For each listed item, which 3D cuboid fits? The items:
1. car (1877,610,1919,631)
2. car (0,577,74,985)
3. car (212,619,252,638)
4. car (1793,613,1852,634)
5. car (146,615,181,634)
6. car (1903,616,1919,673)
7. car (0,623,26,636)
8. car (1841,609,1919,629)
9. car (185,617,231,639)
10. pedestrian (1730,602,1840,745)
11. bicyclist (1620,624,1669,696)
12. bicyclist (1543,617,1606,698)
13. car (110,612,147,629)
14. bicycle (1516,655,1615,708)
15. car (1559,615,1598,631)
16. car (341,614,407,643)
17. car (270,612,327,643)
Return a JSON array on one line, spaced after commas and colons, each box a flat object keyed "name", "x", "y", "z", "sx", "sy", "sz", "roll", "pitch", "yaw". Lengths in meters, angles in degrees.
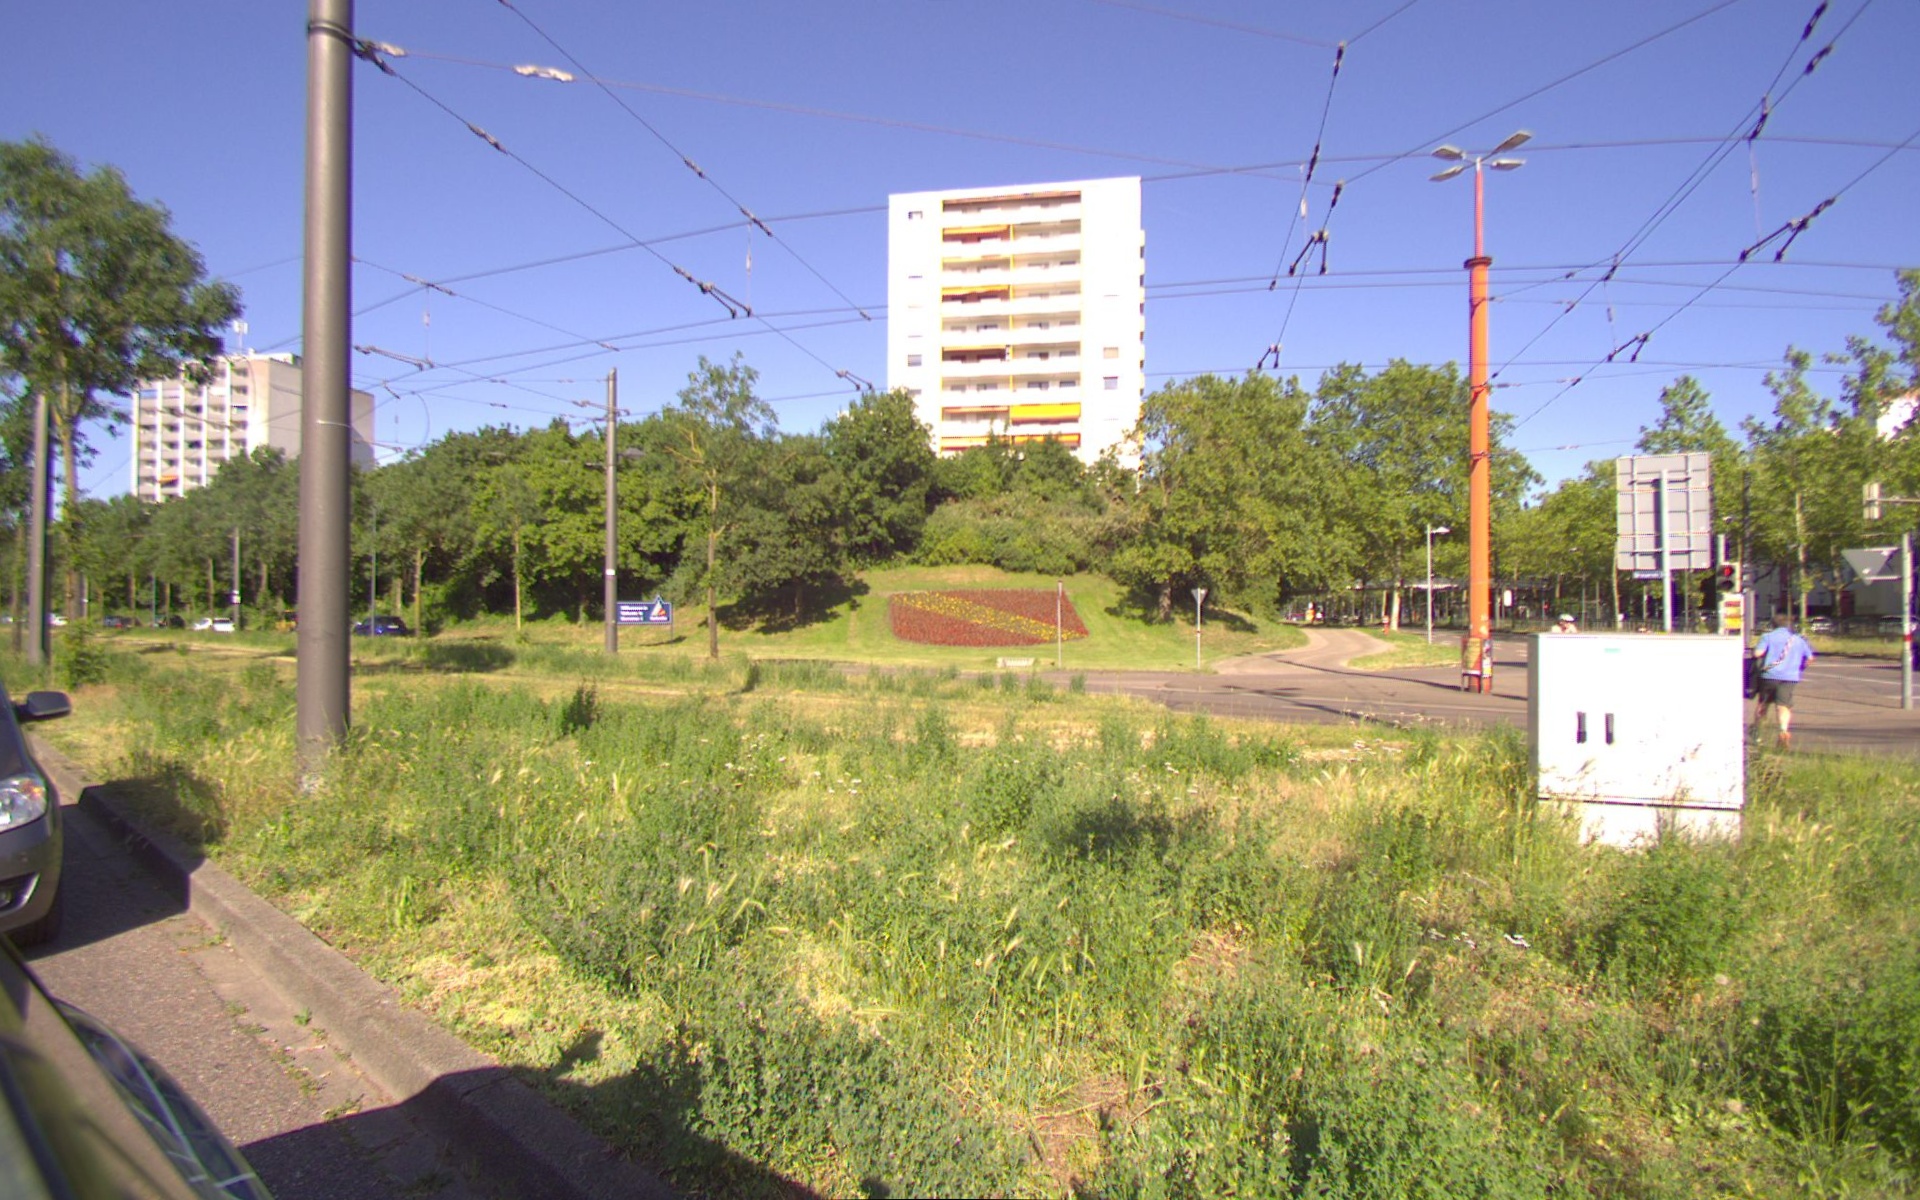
[{"name": "car", "x": 64.890, "y": 1.401, "z": 68.402, "sx": 1.770, "sy": 1.420, "sz": 4.010, "roll": 1, "pitch": -1, "yaw": -36}, {"name": "car", "x": -5.736, "y": 0.747, "z": 4.848, "sx": 3.879, "sy": 1.634, "sz": 1.737, "roll": -1, "pitch": -2, "yaw": 41}, {"name": "car", "x": -56.133, "y": 2.173, "z": 78.001, "sx": 4.000, "sy": 1.386, "sz": 1.756, "roll": -1, "pitch": -2, "yaw": 43}, {"name": "car", "x": 61.290, "y": 1.669, "z": 71.989, "sx": 1.742, "sy": 1.409, "sz": 3.975, "roll": -1, "pitch": -1, "yaw": 19}, {"name": "car", "x": -68.645, "y": 2.098, "z": 87.231, "sx": 4.241, "sy": 1.519, "sz": 1.768, "roll": 0, "pitch": 0, "yaw": 43}, {"name": "car", "x": 29.665, "y": 1.304, "z": 29.066, "sx": 1.833, "sy": 1.721, "sz": 4.288, "roll": -1, "pitch": -2, "yaw": 13}, {"name": "car", "x": -113.661, "y": 3.538, "z": 121.151, "sx": 3.991, "sy": 1.497, "sz": 1.976, "roll": -1, "pitch": -2, "yaw": 35}, {"name": "car", "x": 65.879, "y": 1.379, "z": 72.384, "sx": 1.770, "sy": 1.420, "sz": 4.010, "roll": 1, "pitch": -1, "yaw": -36}, {"name": "car", "x": -50.448, "y": 1.860, "z": 67.887, "sx": 4.020, "sy": 1.418, "sz": 1.671, "roll": -1, "pitch": -2, "yaw": 42}, {"name": "pedestrian", "x": 10.973, "y": 0.949, "z": 13.512, "sx": 0.951, "sy": 1.807, "sz": 0.978, "roll": -1, "pitch": -1, "yaw": 30}, {"name": "bicyclist", "x": 13.362, "y": 1.159, "z": 19.758, "sx": 0.435, "sy": 1.391, "sz": 0.631, "roll": 0, "pitch": -2, "yaw": -20}, {"name": "bicyclist", "x": 12.225, "y": 1.126, "z": 20.154, "sx": 0.719, "sy": 1.557, "sz": 0.770, "roll": 0, "pitch": -2, "yaw": -20}, {"name": "car", "x": -69.447, "y": 1.708, "z": 84.534, "sx": 4.310, "sy": 1.427, "sz": 1.775, "roll": -1, "pitch": -2, "yaw": 43}, {"name": "bicycle", "x": 12.146, "y": 1.612, "z": 20.355, "sx": 0.673, "sy": 0.968, "sz": 1.650, "roll": 0, "pitch": -1, "yaw": -20}, {"name": "car", "x": 79.736, "y": 2.996, "z": 130.484, "sx": 3.969, "sy": 2.029, "sz": 1.987, "roll": -1, "pitch": -1, "yaw": 20}, {"name": "car", "x": -32.639, "y": 1.585, "z": 56.308, "sx": 4.105, "sy": 1.586, "sz": 1.973, "roll": -1, "pitch": -2, "yaw": 41}, {"name": "car", "x": -43.889, "y": 1.832, "z": 67.095, "sx": 4.905, "sy": 1.981, "sz": 1.972, "roll": -1, "pitch": -2, "yaw": 42}]
